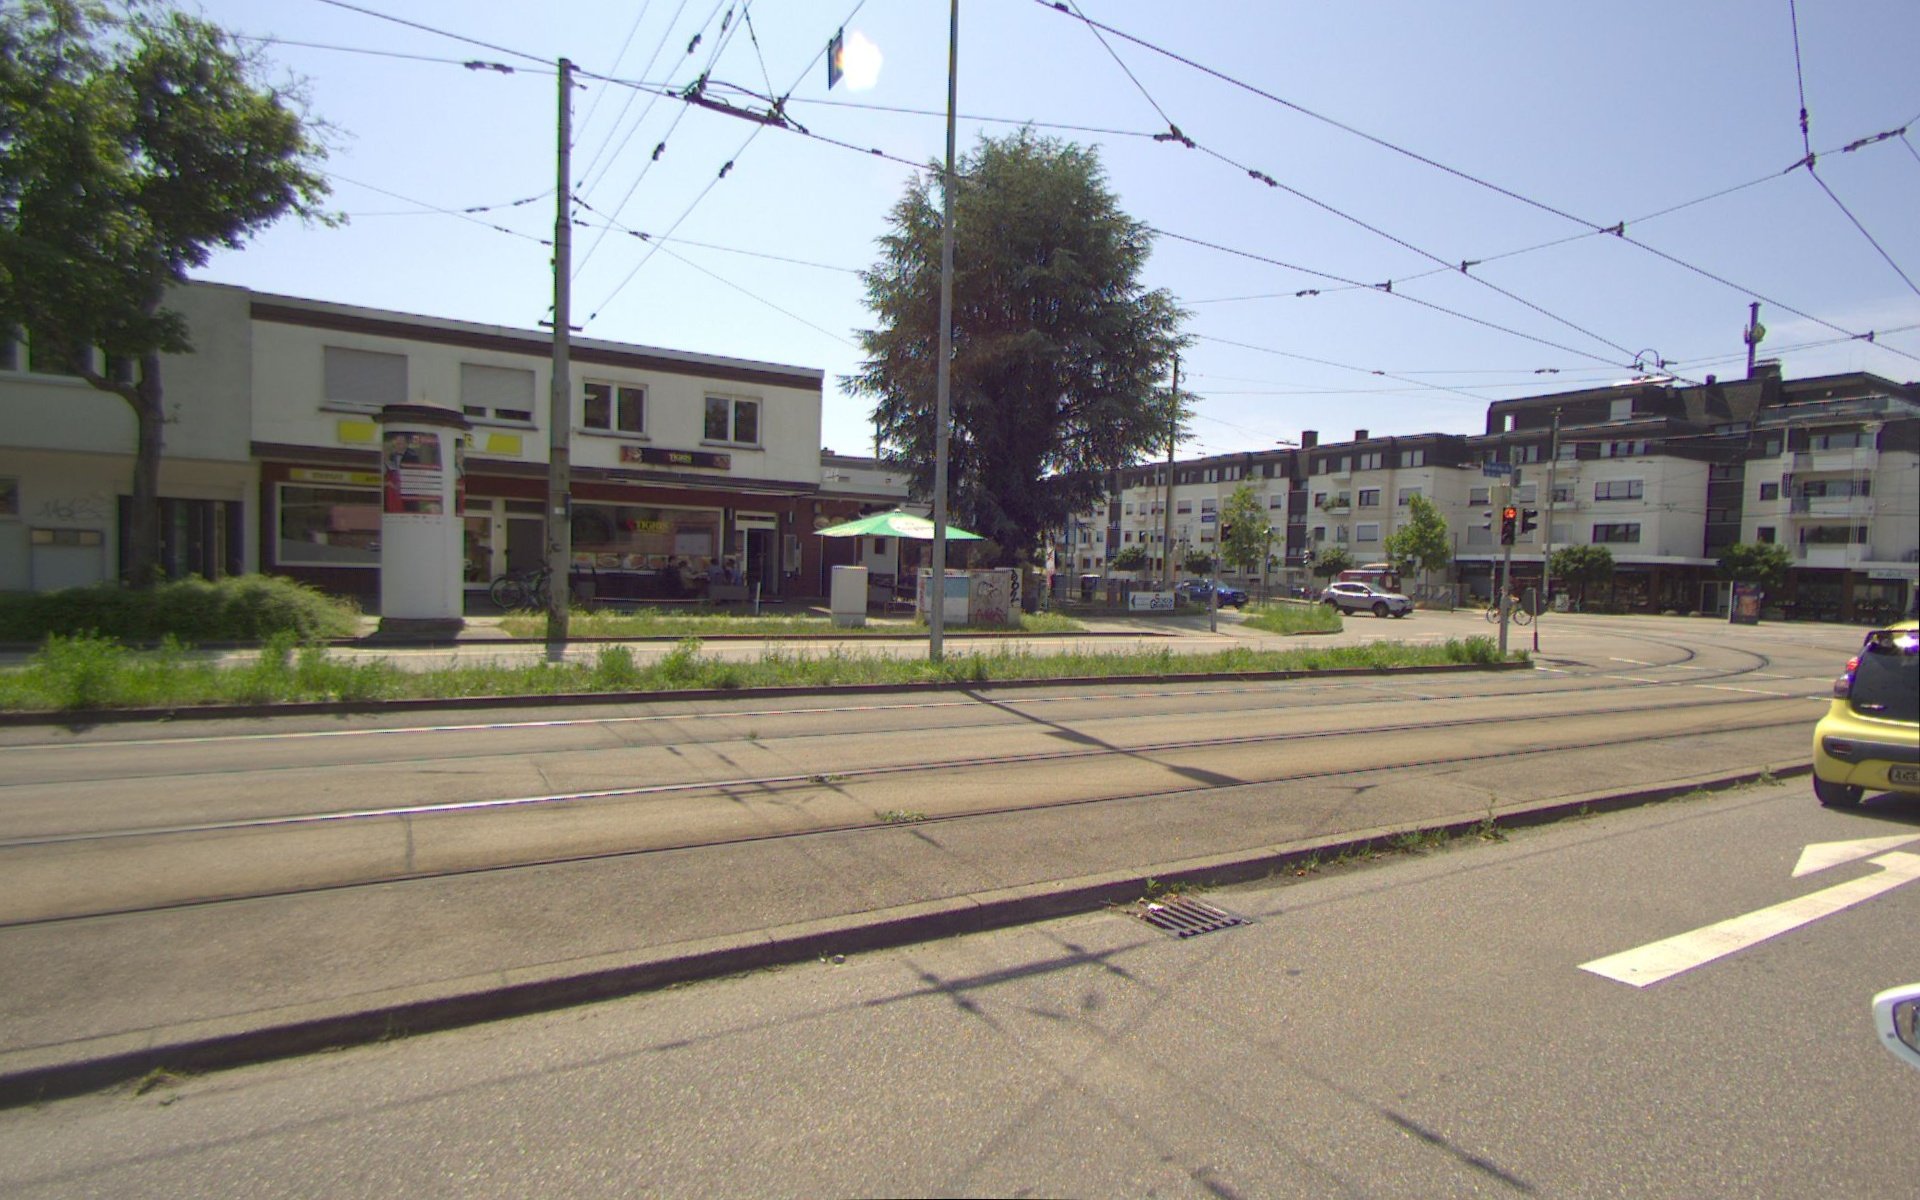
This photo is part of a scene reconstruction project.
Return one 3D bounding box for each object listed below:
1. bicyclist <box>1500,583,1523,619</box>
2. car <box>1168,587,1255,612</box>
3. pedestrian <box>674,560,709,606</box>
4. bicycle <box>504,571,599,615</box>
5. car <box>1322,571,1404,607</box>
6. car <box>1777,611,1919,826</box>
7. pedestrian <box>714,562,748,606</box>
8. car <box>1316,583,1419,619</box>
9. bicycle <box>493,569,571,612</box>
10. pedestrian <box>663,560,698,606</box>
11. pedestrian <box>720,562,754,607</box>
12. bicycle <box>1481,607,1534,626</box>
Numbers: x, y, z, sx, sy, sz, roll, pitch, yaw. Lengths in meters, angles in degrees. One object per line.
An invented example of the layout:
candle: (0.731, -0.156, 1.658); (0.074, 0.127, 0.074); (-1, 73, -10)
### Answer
bicyclist: (23.976, 0.043, 43.657); (0.741, 1.521, 0.480); (2, 0, 39)
car: (14.097, -0.047, 56.521); (1.919, 1.253, 4.740); (2, 0, -33)
pedestrian: (-7.698, -0.476, 28.769); (0.832, 1.285, 0.586); (2, 0, -30)
bicycle: (-9.744, -0.157, 23.991); (2.006, 0.992, 0.607); (2, 0, -31)
car: (28.358, -0.783, 70.881); (2.219, 2.372, 5.038); (2, 0, -31)
car: (8.065, 0.837, 7.760); (3.254, 1.464, 1.715); (0, 0, -31)
pedestrian: (-6.844, -0.468, 29.985); (0.832, 1.285, 0.586); (2, 0, -30)
car: (19.441, 0.043, 48.010); (1.925, 1.605, 4.100); (2, 0, -42)
bicycle: (-10.661, -0.228, 25.039); (1.738, 0.992, 0.536); (2, 0, -31)
pedestrian: (-8.148, -0.496, 29.269); (0.832, 1.285, 0.586); (2, 0, -30)
pedestrian: (-6.537, -0.455, 29.435); (0.832, 1.285, 0.586); (2, 0, -30)
bicycle: (23.801, 0.712, 43.700); (1.956, 0.794, 0.464); (2, 0, 39)
